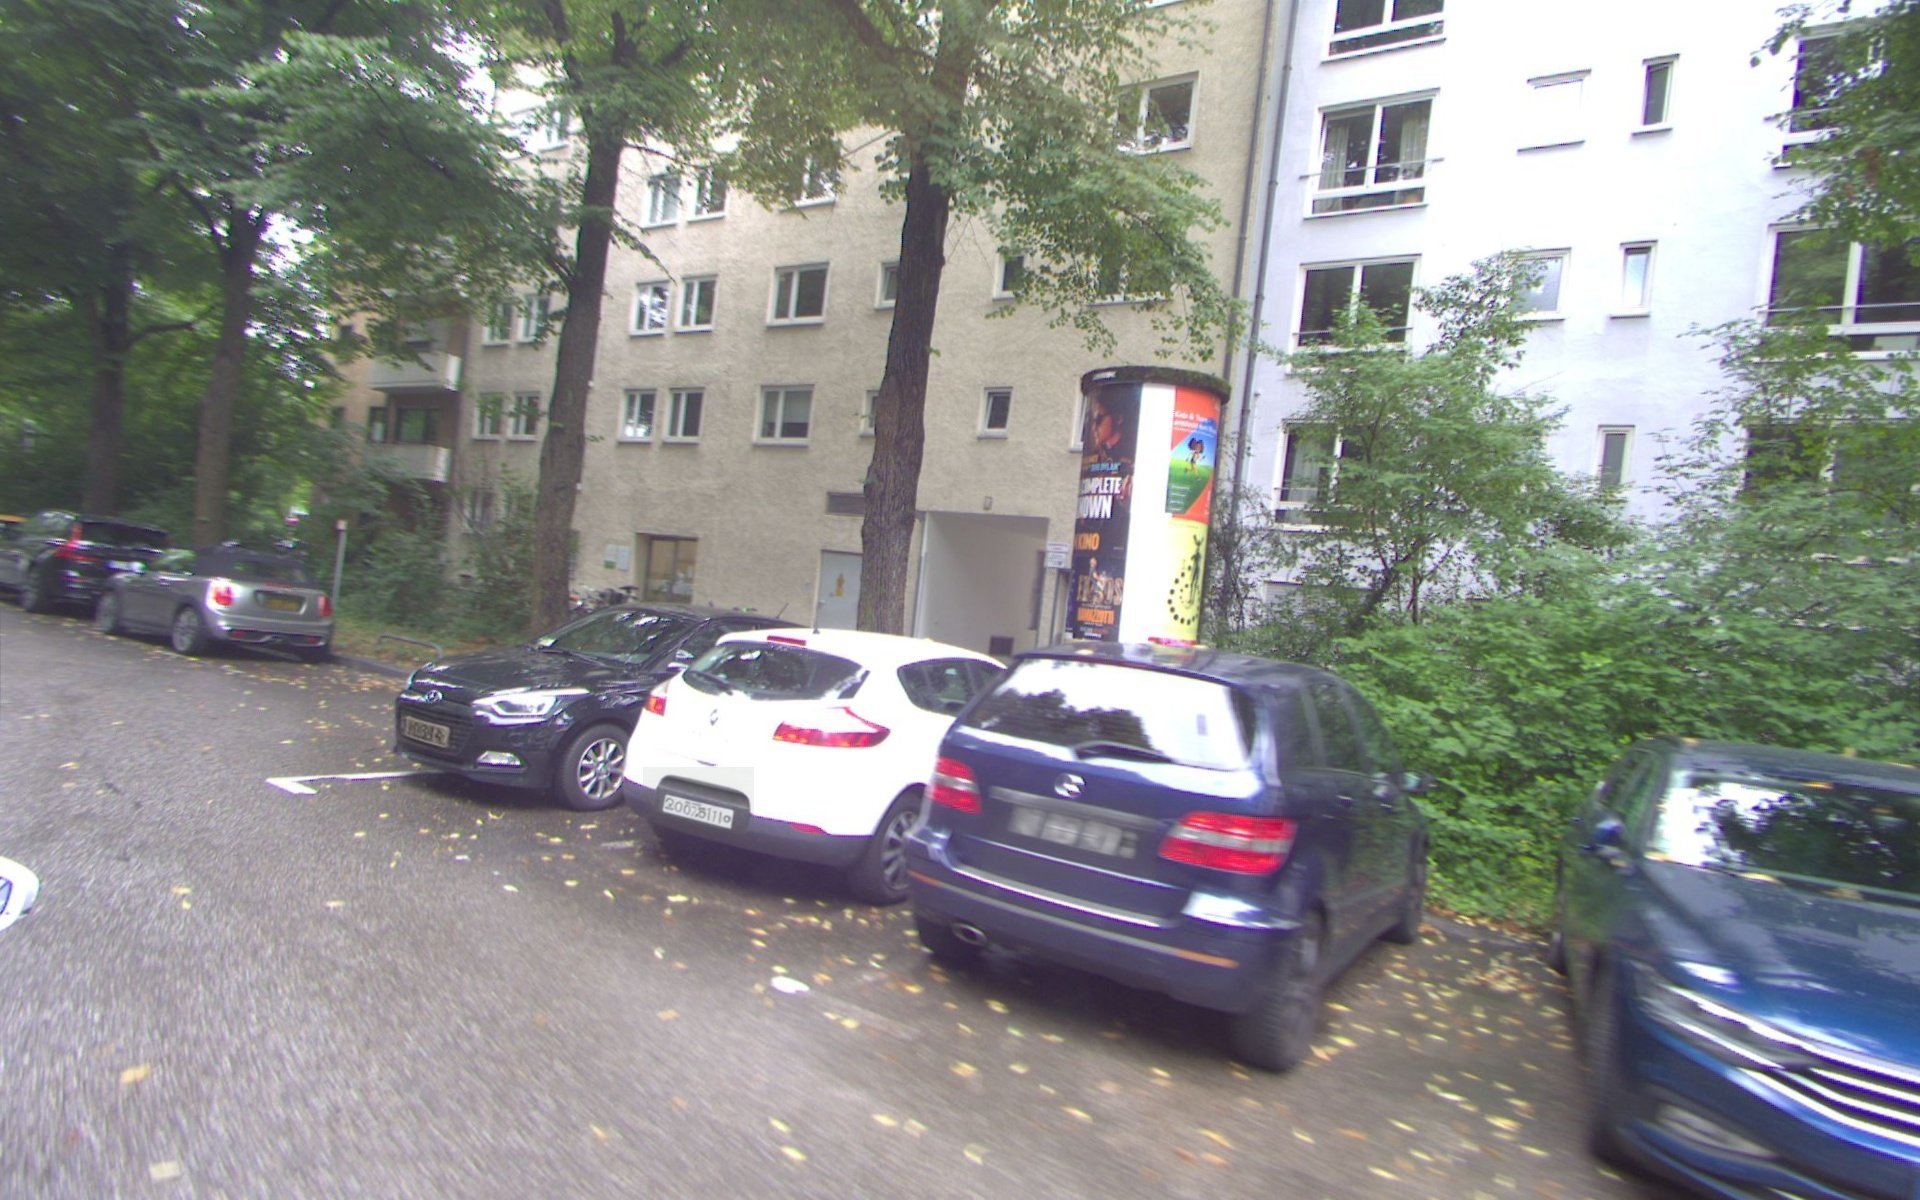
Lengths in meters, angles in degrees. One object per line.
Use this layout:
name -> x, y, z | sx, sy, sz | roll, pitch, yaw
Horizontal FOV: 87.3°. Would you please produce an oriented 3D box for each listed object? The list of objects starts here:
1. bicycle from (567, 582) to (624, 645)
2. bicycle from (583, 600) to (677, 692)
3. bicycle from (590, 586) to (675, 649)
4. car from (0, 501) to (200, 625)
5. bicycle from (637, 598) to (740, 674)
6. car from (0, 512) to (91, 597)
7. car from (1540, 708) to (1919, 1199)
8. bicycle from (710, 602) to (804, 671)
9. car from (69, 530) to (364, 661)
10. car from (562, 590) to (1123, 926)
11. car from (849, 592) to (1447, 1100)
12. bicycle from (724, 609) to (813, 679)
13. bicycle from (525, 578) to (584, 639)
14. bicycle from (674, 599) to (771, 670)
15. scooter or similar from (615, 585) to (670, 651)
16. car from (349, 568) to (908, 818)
bicycle -> -7.156, 0.269, 19.803 | 0.437, 1.137, 1.771 | 7, -1, -3
bicycle -> -4.761, 0.638, 14.654 | 0.753, 1.178, 1.869 | 6, -1, -4
bicycle -> -6.470, 0.376, 19.988 | 0.437, 1.137, 1.949 | 7, -1, 17
car -> -14.958, -0.678, 17.042 | 4.452, 1.648, 1.833 | 6, -1, 33
bicycle -> -4.455, 0.624, 16.647 | 0.530, 1.137, 1.877 | 7, -1, 21
car -> -19.031, -1.013, 19.830 | 3.715, 1.429, 1.621 | 6, -1, 29
car -> 3.804, 1.354, 4.405 | 1.926, 1.394, 4.727 | 6, -1, 29
bicycle -> -3.978, 0.709, 19.678 | 1.739, 1.137, 0.445 | 7, 0, 23
car -> -10.711, -0.086, 14.421 | 4.357, 1.431, 1.900 | 6, 0, 32
car -> -0.459, 0.890, 6.981 | 1.795, 1.465, 3.943 | 6, -1, 29
car -> 1.386, 0.977, 5.522 | 1.728, 1.574, 3.975 | 6, -1, 33
bicycle -> -3.371, 0.801, 17.872 | 0.530, 1.137, 1.877 | 7, -1, 21
bicycle -> -8.193, 0.180, 20.384 | 0.437, 1.137, 1.771 | 7, -1, -3
bicycle -> -4.520, 0.655, 19.107 | 1.739, 1.137, 0.445 | 7, 0, 23
scooter or similar -> -6.793, 0.381, 21.497 | 1.118, 1.268, 0.384 | 6, 0, 33
car -> -2.387, 0.711, 8.265 | 1.707, 1.411, 4.085 | 6, -1, 34
